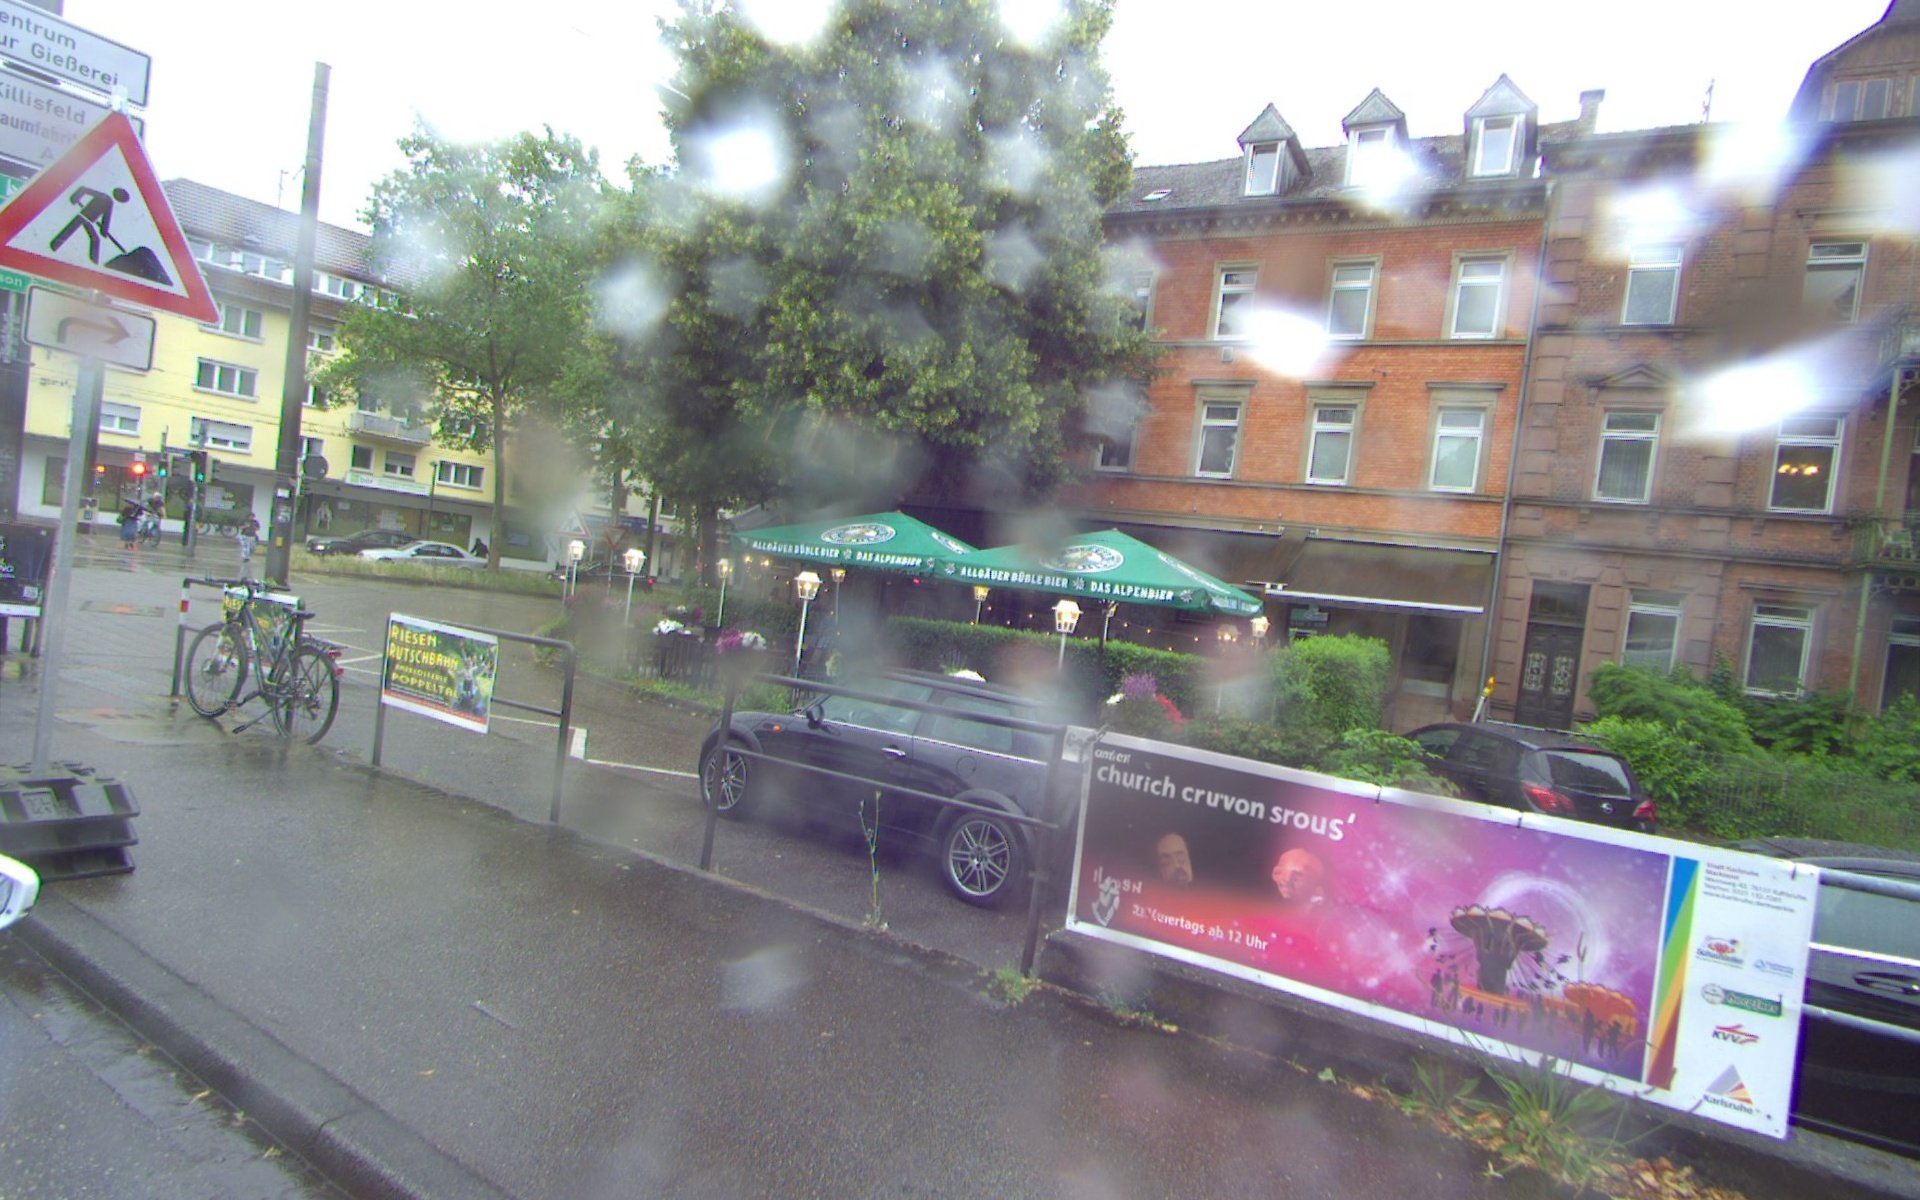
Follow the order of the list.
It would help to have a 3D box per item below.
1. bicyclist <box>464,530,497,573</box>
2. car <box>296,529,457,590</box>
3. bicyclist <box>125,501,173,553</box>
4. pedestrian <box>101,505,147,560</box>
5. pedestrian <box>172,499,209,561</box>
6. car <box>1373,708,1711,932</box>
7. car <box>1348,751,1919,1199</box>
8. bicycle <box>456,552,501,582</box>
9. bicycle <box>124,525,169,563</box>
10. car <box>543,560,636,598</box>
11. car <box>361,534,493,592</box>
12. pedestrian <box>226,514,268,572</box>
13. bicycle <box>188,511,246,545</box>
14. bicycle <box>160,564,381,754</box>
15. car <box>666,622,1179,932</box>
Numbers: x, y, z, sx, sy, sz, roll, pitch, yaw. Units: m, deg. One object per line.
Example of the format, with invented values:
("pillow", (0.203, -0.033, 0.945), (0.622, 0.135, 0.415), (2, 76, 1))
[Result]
("bicyclist", (-19.900, -2.002, 41.785), (0.699, 1.634, 0.815), (7, 0, 33))
("car", (-22.441, -1.521, 38.823), (1.975, 1.661, 4.928), (3, -4, 43))
("bicyclist", (-27.255, -2.448, 33.825), (0.845, 1.602, 0.880), (7, -1, 30))
("pedestrian", (-25.892, -2.089, 31.162), (0.612, 1.552, 0.816), (7, 0, -6))
("pedestrian", (-27.152, -2.469, 35.515), (0.790, 2.038, 0.853), (7, 0, -33))
("car", (6.697, 2.435, 12.191), (1.962, 1.733, 4.004), (7, -1, 7))
("car", (4.198, 1.824, 4.958), (3.907, 1.416, 1.706), (7, -1, 32))
("bicycle", (-19.982, -1.368, 41.783), (0.415, 1.013, 1.640), (7, -1, 32))
("bicycle", (-27.377, -1.886, 33.863), (1.869, 1.040, 0.459), (8, 1, 30))
("car", (-15.514, -0.849, 42.274), (1.227, 1.095, 3.531), (7, -2, 34))
("car", (-19.723, -1.360, 37.311), (3.926, 1.508, 1.784), (8, 0, -43))
("pedestrian", (-22.948, -1.828, 32.400), (0.899, 1.689, 1.011), (7, -1, -33))
("bicycle", (-35.598, -3.436, 48.197), (2.096, 1.277, 0.525), (8, 0, -44))
("bicycle", (-5.175, 0.403, 7.497), (1.984, 1.119, 0.515), (7, -3, 34))
("car", (-0.350, 1.215, 7.800), (3.468, 1.457, 1.710), (8, -3, 34))
